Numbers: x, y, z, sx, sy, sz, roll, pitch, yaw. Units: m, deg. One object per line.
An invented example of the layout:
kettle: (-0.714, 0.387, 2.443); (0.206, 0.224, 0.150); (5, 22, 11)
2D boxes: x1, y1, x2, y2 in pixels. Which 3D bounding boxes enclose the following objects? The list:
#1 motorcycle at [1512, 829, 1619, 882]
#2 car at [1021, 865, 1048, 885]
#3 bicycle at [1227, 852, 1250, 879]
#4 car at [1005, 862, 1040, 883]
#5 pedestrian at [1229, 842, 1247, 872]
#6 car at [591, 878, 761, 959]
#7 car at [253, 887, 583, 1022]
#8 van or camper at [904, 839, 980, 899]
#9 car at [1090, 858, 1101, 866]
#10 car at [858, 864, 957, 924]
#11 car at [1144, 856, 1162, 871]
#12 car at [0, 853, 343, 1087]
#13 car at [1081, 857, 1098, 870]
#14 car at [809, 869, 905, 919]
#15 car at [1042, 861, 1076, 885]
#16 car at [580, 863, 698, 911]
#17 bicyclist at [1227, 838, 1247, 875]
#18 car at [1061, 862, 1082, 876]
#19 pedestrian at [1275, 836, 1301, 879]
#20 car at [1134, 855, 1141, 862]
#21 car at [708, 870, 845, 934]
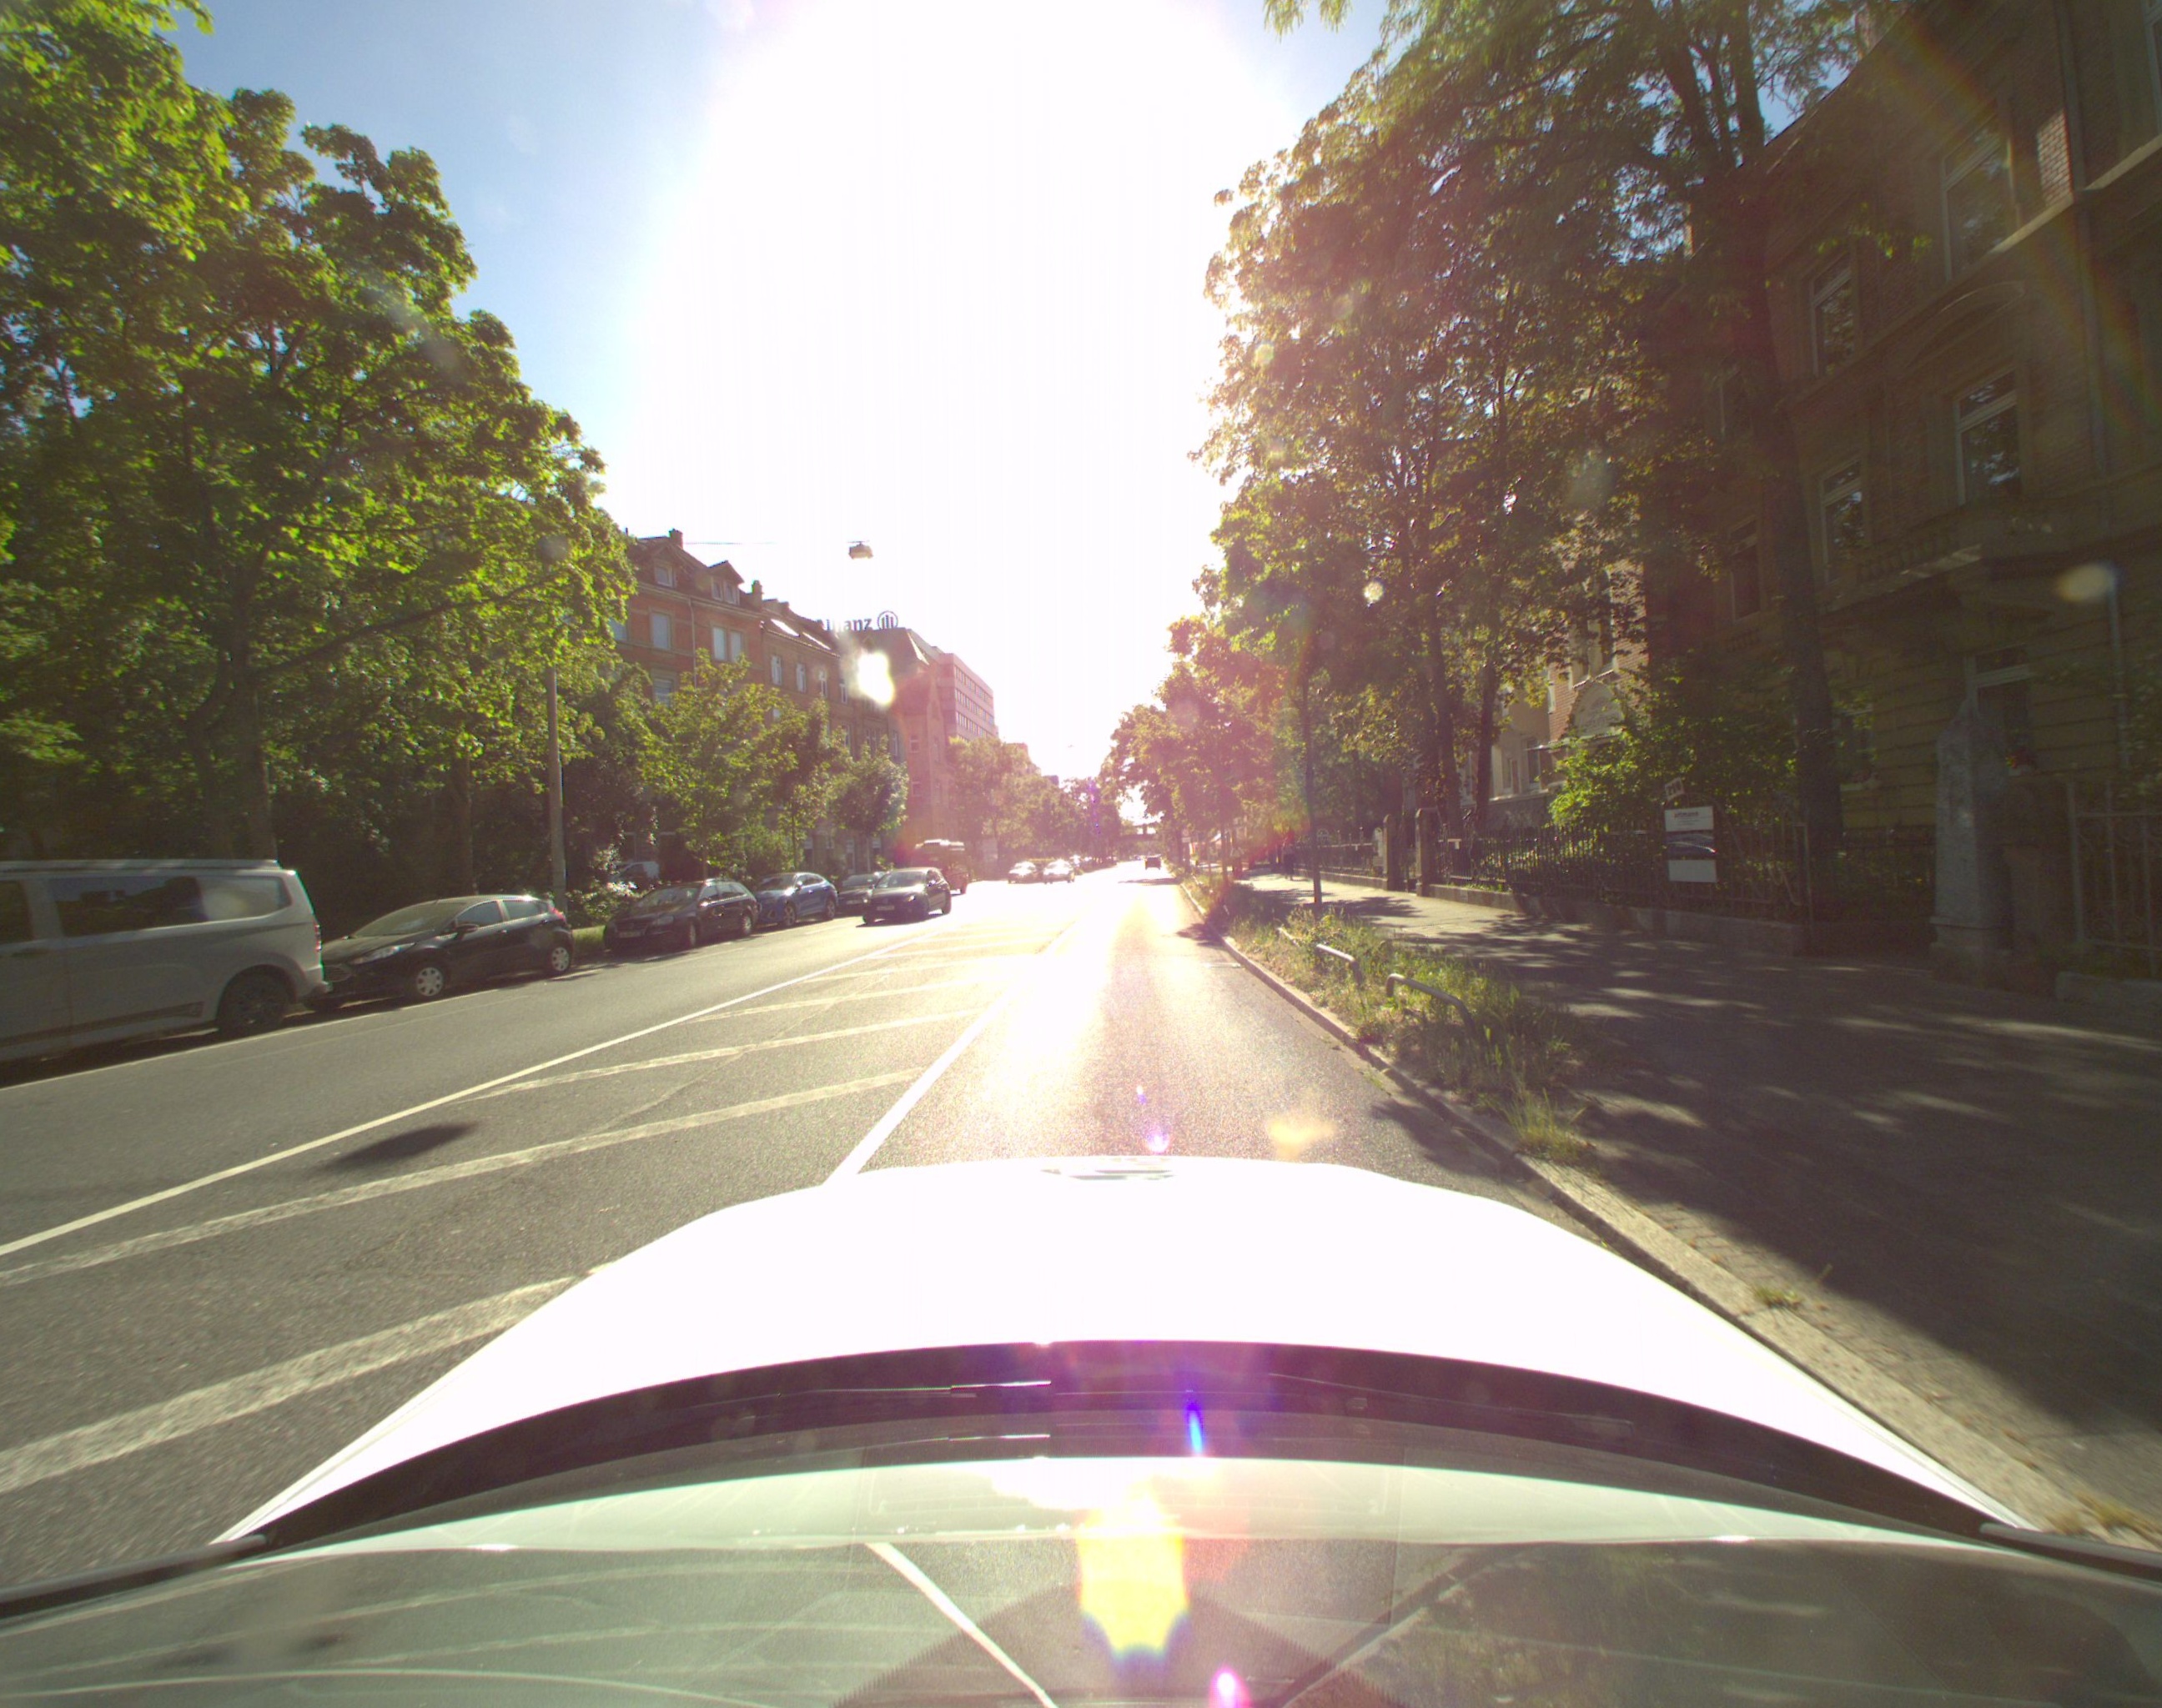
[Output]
motorcycle: (11.028, 0.050, 18.604); (1.862, 1.031, 0.784); (-5, -2, 13)
car: (-3.790, 1.672, 66.743); (1.849, 1.494, 4.706); (0, 0, 0)
bicycle: (7.498, 0.523, 38.820); (0.613, 1.176, 1.920); (-7, 0, 1)
car: (-4.381, 1.374, 61.729); (1.846, 1.427, 4.728); (0, 0, 6)
pedestrian: (9.560, 0.176, 49.536); (0.741, 1.787, 0.815); (-7, -1, 19)
car: (-9.177, 1.390, 18.894); (1.584, 1.482, 4.274); (-5, -1, 2)
car: (-9.751, 1.371, 12.447); (1.457, 1.501, 3.964); (-5, -1, 5)
van or camper: (-7.008, 0.709, 41.909); (2.206, 2.739, 6.097); (-3, 0, 5)
car: (2.794, 1.550, 158.427); (1.846, 1.568, 3.878); (-3, 0, 6)
car: (-4.980, 1.113, 23.917); (1.585, 1.450, 4.139); (-4, 0, 5)
car: (8.209, 1.044, 93.340); (1.976, 1.600, 4.145); (-3, 0, 4)
car: (-10.405, 1.104, 7.791); (1.976, 2.036, 4.877); (-6, 0, 1)
car: (1.089, 1.173, 102.344); (1.703, 1.458, 4.080); (-3, 0, 7)
car: (-7.926, 1.362, 29.236); (1.772, 1.413, 4.411); (-5, 0, 5)
car: (-1.436, 1.237, 53.979); (1.911, 1.419, 4.227); (-3, 0, 2)
car: (-20.562, 1.496, 38.079); (1.841, 1.914, 4.479); (-5, -2, 29)
bicyclist: (7.448, 0.099, 38.837); (0.618, 1.690, 0.820); (-7, 0, 1)
car: (-1.001, 1.634, 90.847); (1.679, 1.383, 4.200); (-3, 0, 8)
pedestrian: (8.332, 0.132, 32.830); (0.691, 1.658, 0.821); (-6, -1, 4)
car: (16.840, 1.241, 241.367); (1.847, 1.825, 4.615); (-5, 0, 4)
car: (-8.818, 1.327, 24.043); (1.770, 1.538, 4.568); (-3, 0, 7)
